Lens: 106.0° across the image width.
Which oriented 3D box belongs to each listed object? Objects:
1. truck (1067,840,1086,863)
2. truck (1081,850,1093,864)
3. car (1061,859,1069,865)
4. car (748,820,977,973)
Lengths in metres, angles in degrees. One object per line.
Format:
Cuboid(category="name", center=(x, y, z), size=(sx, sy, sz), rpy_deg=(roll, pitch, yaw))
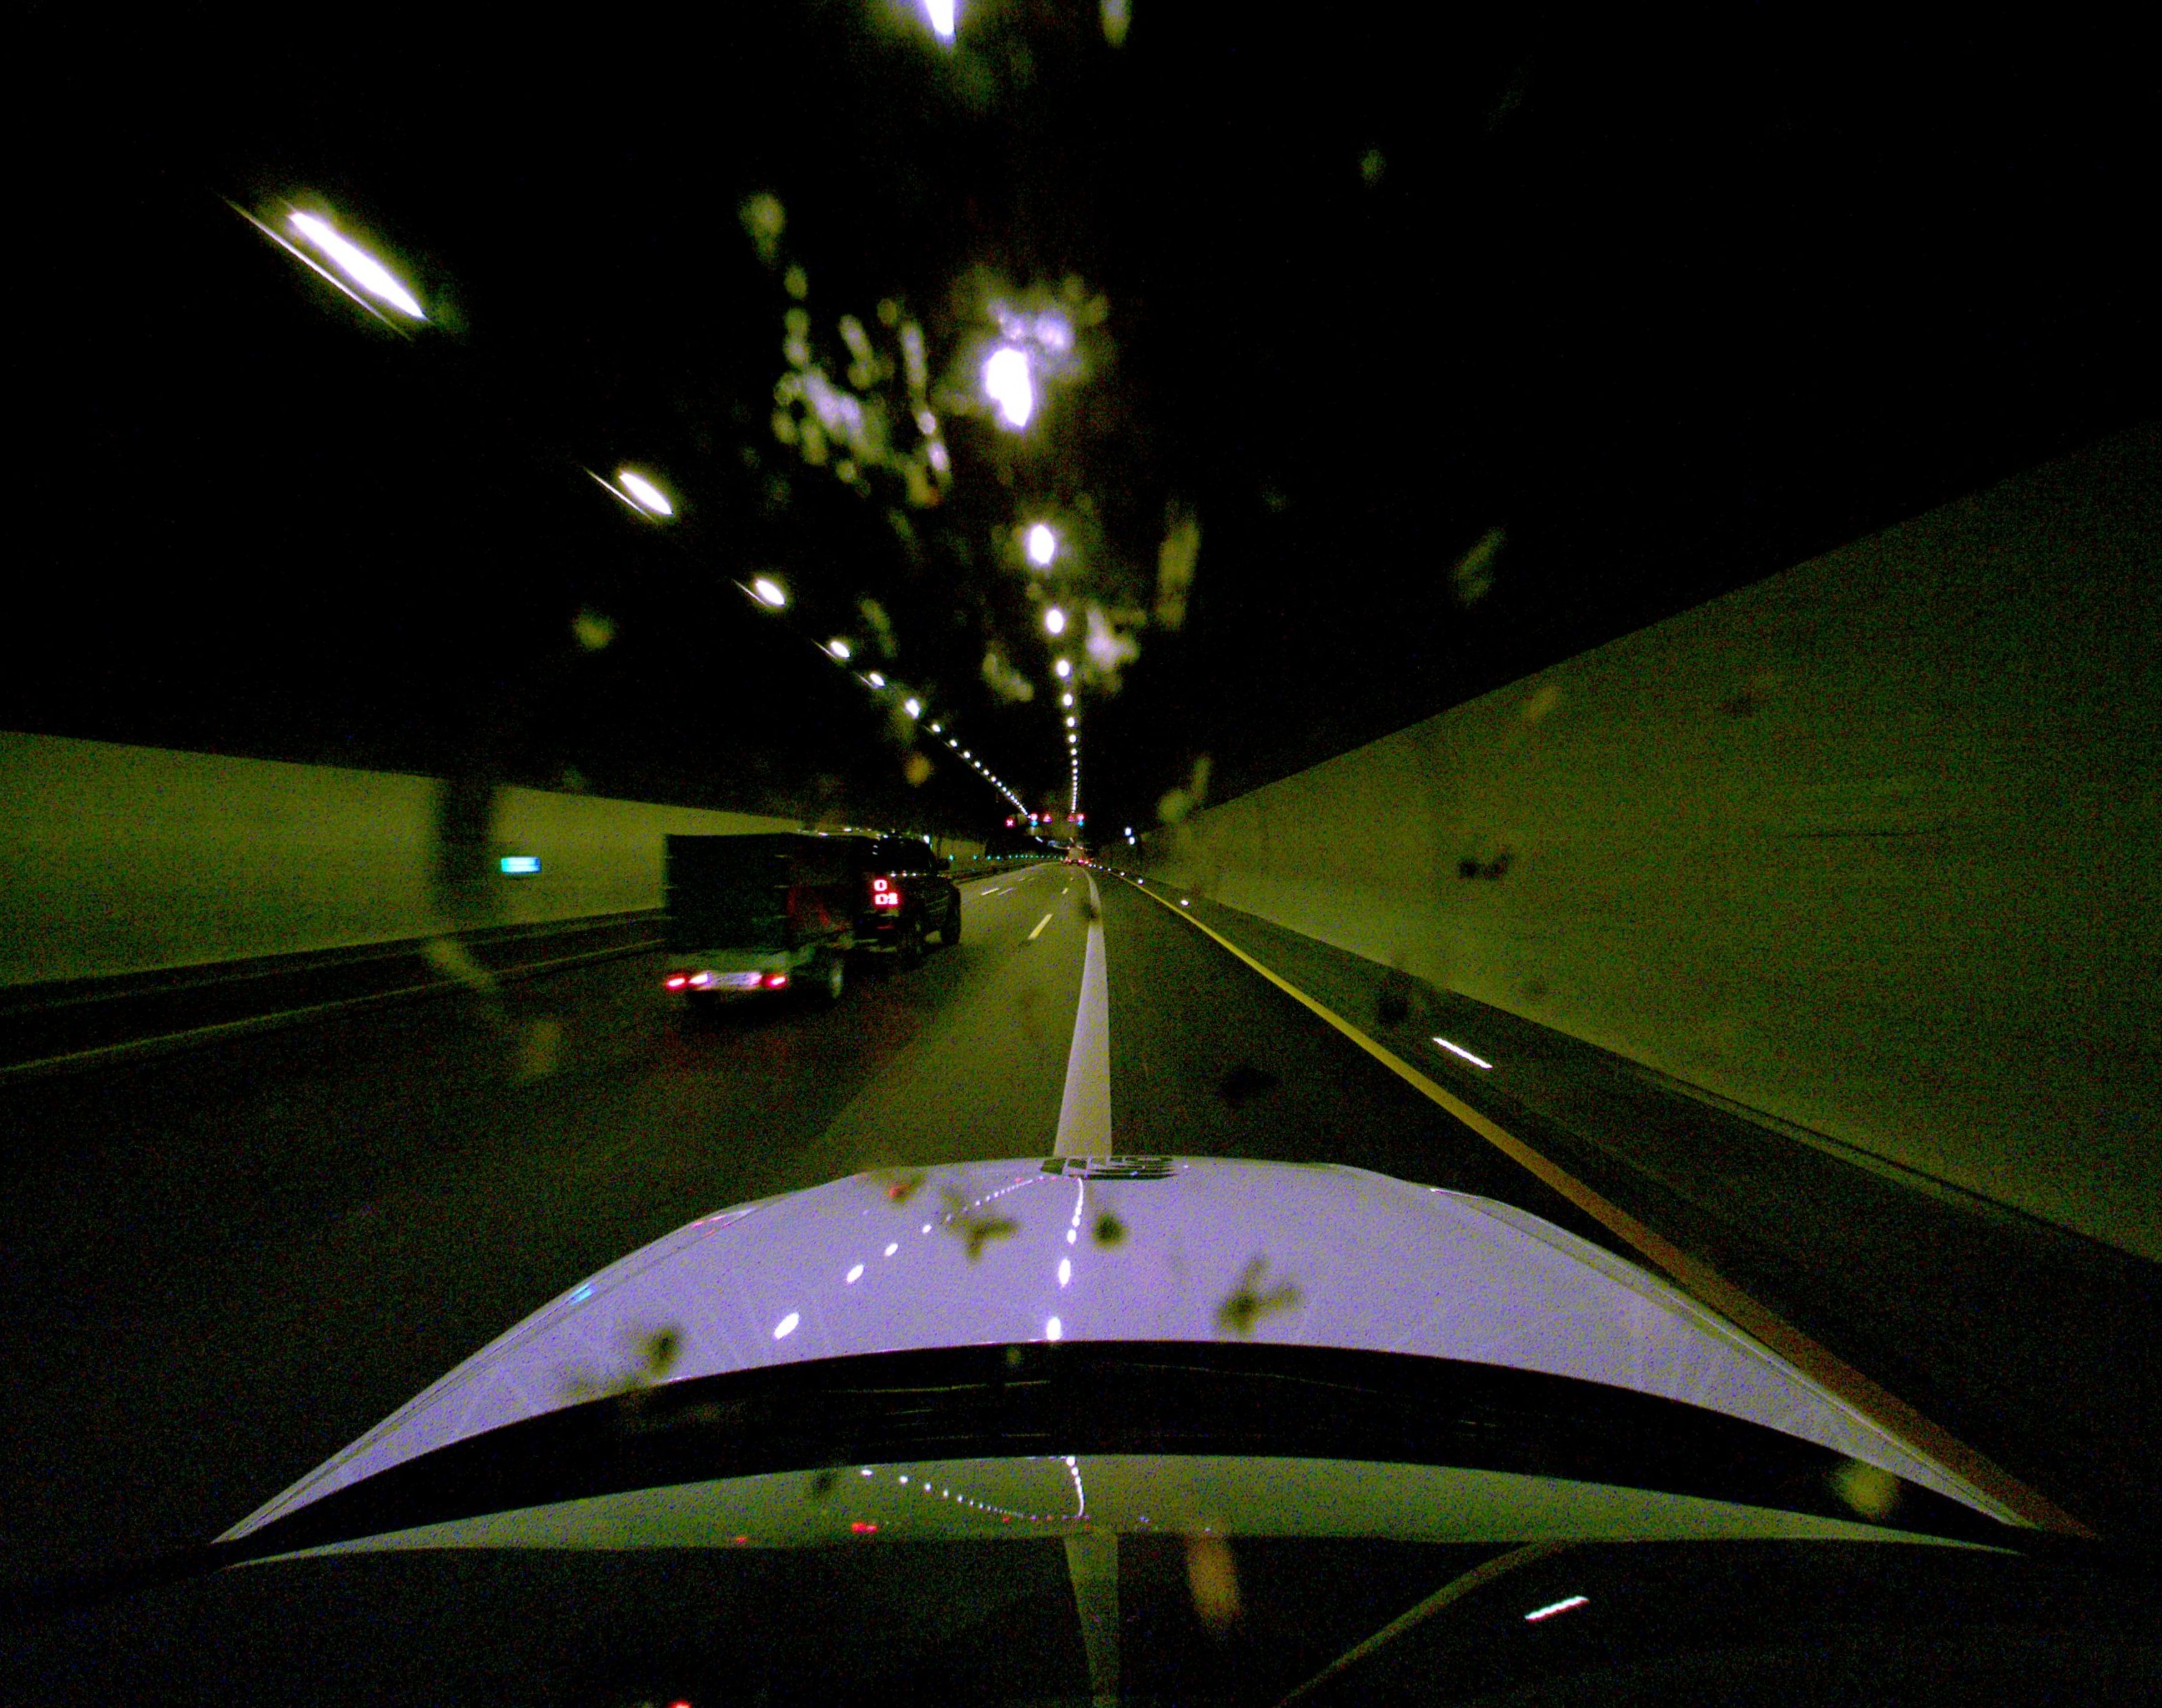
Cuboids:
Cuboid(category="truck", center=(-0.973, -0.579, 161.476), size=(3.464, 4.316, 10.947), rpy_deg=(2, 0, -1))
Cuboid(category="truck", center=(1.944, 1.003, 260.057), size=(3.464, 4.316, 10.946), rpy_deg=(0, 0, -1))
Cuboid(category="car", center=(-4.291, 2.138, 216.015), size=(1.988, 1.582, 3.997), rpy_deg=(1, 0, -2))
Cuboid(category="car", center=(-3.092, 0.538, 12.943), size=(1.986, 1.895, 5.455), rpy_deg=(-1, 0, 2))
